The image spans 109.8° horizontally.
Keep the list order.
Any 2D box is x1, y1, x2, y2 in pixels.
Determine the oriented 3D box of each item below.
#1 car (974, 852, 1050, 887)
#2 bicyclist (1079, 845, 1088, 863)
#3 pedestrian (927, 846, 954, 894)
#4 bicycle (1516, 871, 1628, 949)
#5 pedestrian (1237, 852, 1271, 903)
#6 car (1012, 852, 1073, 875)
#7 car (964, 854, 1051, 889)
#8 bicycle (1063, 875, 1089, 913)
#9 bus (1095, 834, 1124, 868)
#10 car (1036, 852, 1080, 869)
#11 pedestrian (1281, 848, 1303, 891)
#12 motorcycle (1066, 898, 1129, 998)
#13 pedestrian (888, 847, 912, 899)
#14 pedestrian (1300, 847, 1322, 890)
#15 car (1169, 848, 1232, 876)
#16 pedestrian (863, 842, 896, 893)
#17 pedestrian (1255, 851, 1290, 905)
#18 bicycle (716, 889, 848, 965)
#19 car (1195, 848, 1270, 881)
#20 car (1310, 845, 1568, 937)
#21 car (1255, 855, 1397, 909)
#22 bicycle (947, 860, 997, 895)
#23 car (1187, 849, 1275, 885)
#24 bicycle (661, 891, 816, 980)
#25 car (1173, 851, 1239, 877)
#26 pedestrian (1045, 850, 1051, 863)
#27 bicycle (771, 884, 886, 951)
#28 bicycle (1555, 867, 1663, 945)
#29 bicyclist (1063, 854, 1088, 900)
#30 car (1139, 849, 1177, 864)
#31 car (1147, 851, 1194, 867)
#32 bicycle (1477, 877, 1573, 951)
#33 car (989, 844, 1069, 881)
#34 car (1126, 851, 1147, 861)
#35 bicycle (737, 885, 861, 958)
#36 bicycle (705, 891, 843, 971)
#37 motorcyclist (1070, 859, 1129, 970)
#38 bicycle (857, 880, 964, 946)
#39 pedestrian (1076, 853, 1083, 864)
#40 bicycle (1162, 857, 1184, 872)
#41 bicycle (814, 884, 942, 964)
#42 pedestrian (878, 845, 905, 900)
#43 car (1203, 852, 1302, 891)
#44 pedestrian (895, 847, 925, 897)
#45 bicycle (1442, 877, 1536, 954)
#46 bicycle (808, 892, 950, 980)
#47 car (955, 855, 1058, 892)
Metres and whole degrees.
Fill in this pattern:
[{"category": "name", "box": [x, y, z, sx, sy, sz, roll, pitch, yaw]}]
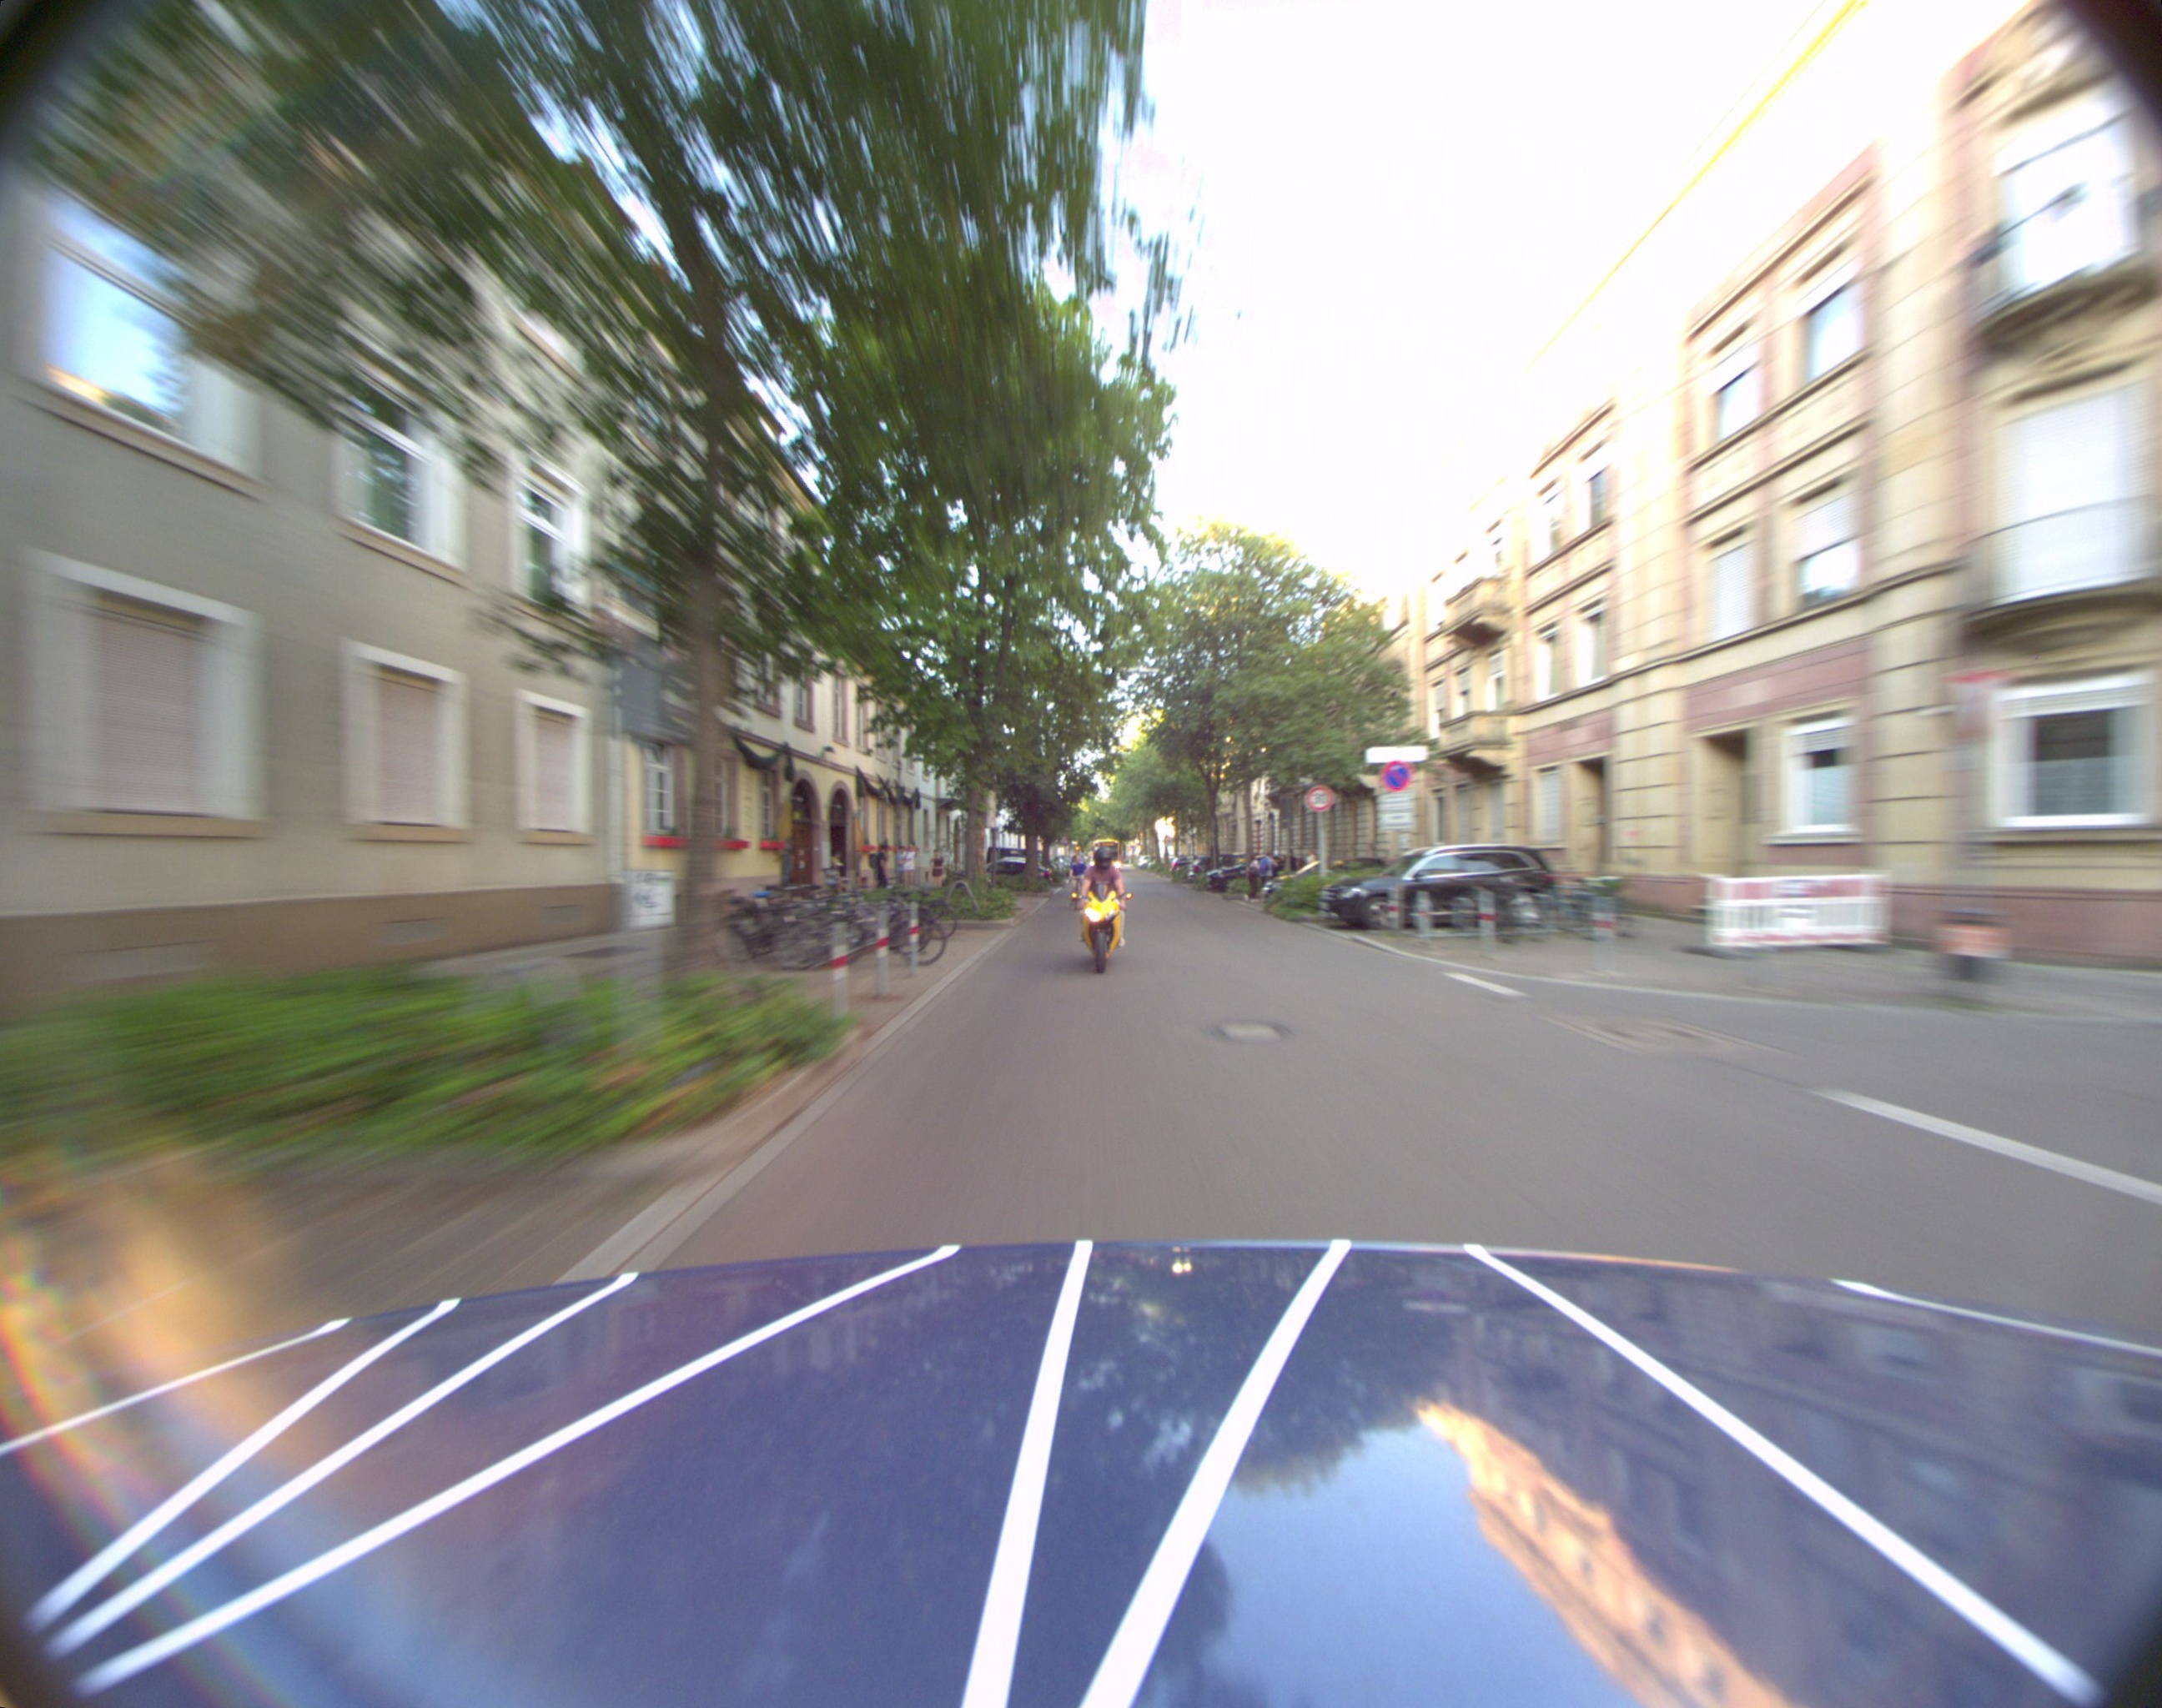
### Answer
[{"category": "car", "box": [-3.557, 0.783, 39.462, 3.689, 1.569, 1.714, 3, 1, 2]}, {"category": "bicyclist", "box": [0.227, -0.006, 67.201, 0.637, 1.552, 0.818, -3, 0, -2]}, {"category": "pedestrian", "box": [-5.091, 0.579, 27.556, 0.707, 1.728, 0.727, 1, 0, 13]}, {"category": "bicycle", "box": [8.148, 0.892, 12.718, 0.670, 1.057, 1.861, -4, 2, 2]}, {"category": "pedestrian", "box": [5.829, 0.772, 25.643, 0.795, 1.661, 0.833, 1, 1, 42]}, {"category": "car", "box": [-3.007, 0.701, 59.781, 4.602, 1.569, 1.944, 3, 1, 0]}, {"category": "car", "box": [-3.506, 0.829, 36.833, 3.997, 1.429, 1.926, 3, 1, 0]}, {"category": "bicycle", "box": [-0.133, 1.192, 23.071, 0.674, 1.024, 1.977, -2, 0, 2]}, {"category": "bus", "box": [2.810, -0.321, 78.790, 2.668, 3.176, 11.899, -2, 0, 1]}, {"category": "car", "box": [-2.164, 0.587, 73.489, 4.119, 1.608, 1.961, -1, 0, 2]}, {"category": "pedestrian", "box": [8.681, 0.618, 31.297, 0.736, 1.729, 0.671, -2, 1, 8]}, {"category": "motorcycle", "box": [0.249, 1.168, 9.976, 0.737, 1.053, 1.964, 0, 0, 3]}, {"category": "pedestrian", "box": [-6.045, 0.627, 25.433, 0.616, 1.728, 0.623, 1, 0, 1]}, {"category": "pedestrian", "box": [9.559, 0.605, 31.625, 0.736, 1.729, 0.671, -2, 1, 8]}, {"category": "car", "box": [8.185, 0.553, 52.434, 3.975, 1.587, 1.781, -5, 1, 2]}, {"category": "pedestrian", "box": [-6.952, 0.451, 26.216, 0.725, 1.728, 0.746, 1, 0, 28]}, {"category": "pedestrian", "box": [6.246, 0.764, 24.824, 0.795, 1.727, 0.833, 1, 1, 42]}, {"category": "bicycle", "box": [-4.533, 1.105, 11.580, 1.799, 1.101, 0.500, 0, 1, -4]}, {"category": "car", "box": [8.407, 0.577, 42.423, 3.810, 1.662, 1.714, -2, 0, 0]}, {"category": "car", "box": [7.279, 0.740, 15.832, 4.436, 1.641, 1.873, -2, 0, 2]}, {"category": "car", "box": [7.413, 0.831, 23.256, 3.701, 1.450, 1.873, -2, 0, 1]}, {"category": "bicycle", "box": [-4.140, 0.893, 28.886, 1.800, 1.226, 0.673, 2, 1, -8]}, {"category": "car", "box": [7.821, 0.687, 39.861, 4.211, 1.662, 1.908, -2, 0, 1]}, {"category": "bicycle", "box": [-4.634, 1.091, 10.376, 1.800, 1.136, 0.668, 0, 0, -8]}, {"category": "car", "box": [8.019, 0.631, 48.937, 3.974, 1.379, 1.765, -4, -1, 2]}, {"category": "pedestrian", "box": [-4.761, 0.300, 109.321, 0.699, 1.844, 1.050, 1, 0, 2]}, {"category": "bicycle", "box": [-4.373, 1.095, 13.245, 1.799, 1.122, 0.664, 0, 0, -4]}, {"category": "bicycle", "box": [8.824, 0.831, 12.792, 0.518, 1.101, 1.861, -4, 2, 2]}, {"category": "bicyclist", "box": [-0.160, 0.687, 23.048, 0.674, 1.355, 0.776, -2, 0, 2]}, {"category": "car", "box": [8.601, 0.286, 85.277, 4.179, 1.548, 1.827, -1, 0, 4]}, {"category": "car", "box": [8.801, 0.490, 74.961, 4.523, 1.382, 1.916, -1, 1, 2]}, {"category": "bicycle", "box": [7.404, 0.963, 12.764, 0.523, 1.013, 1.861, -4, 2, 2]}, {"category": "car", "box": [-3.145, 0.521, 46.870, 4.701, 1.999, 2.037, 3, 1, 1]}, {"category": "car", "box": [11.081, 0.434, 151.557, 3.999, 1.940, 1.999, -1, 0, -7]}, {"category": "bicycle", "box": [-4.583, 1.087, 12.432, 1.800, 1.136, 0.651, 0, 0, -7]}, {"category": "bicycle", "box": [-4.442, 1.108, 11.058, 1.799, 1.101, 0.500, 0, 1, -4]}, {"category": "motorcyclist", "box": [0.253, 0.777, 10.030, 0.737, 1.404, 0.726, 0, 1, 3]}, {"category": "bicycle", "box": [-3.145, 1.079, 14.125, 1.834, 1.172, 0.673, 0, 0, 1]}, {"category": "pedestrian", "box": [-0.152, 0.587, 98.013, 0.600, 1.502, 0.719, 1, 1, -27]}, {"category": "bicycle", "box": [7.714, 0.857, 63.808, 1.774, 1.225, 0.500, -1, 2, 7]}, {"category": "bicycle", "box": [-3.156, 1.082, 11.920, 1.834, 1.172, 0.600, 0, 1, 0]}, {"category": "pedestrian", "box": [-6.126, 0.602, 24.542, 0.779, 1.728, 0.683, 1, 0, -15]}, {"category": "car", "box": [7.406, 0.751, 33.154, 3.954, 1.523, 1.908, -2, 1, 4]}, {"category": "pedestrian", "box": [-6.071, 0.625, 27.031, 0.712, 1.728, 0.749, 1, 0, 21]}, {"category": "bicycle", "box": [6.789, 0.988, 12.748, 0.523, 1.053, 1.861, -4, 2, -1]}, {"category": "bicycle", "box": [-2.766, 1.113, 10.583, 1.843, 1.129, 0.744, 0, 0, -9]}, {"category": "car", "box": [-3.319, 0.855, 34.342, 4.412, 1.386, 1.885, 3, 1, -1]}]
